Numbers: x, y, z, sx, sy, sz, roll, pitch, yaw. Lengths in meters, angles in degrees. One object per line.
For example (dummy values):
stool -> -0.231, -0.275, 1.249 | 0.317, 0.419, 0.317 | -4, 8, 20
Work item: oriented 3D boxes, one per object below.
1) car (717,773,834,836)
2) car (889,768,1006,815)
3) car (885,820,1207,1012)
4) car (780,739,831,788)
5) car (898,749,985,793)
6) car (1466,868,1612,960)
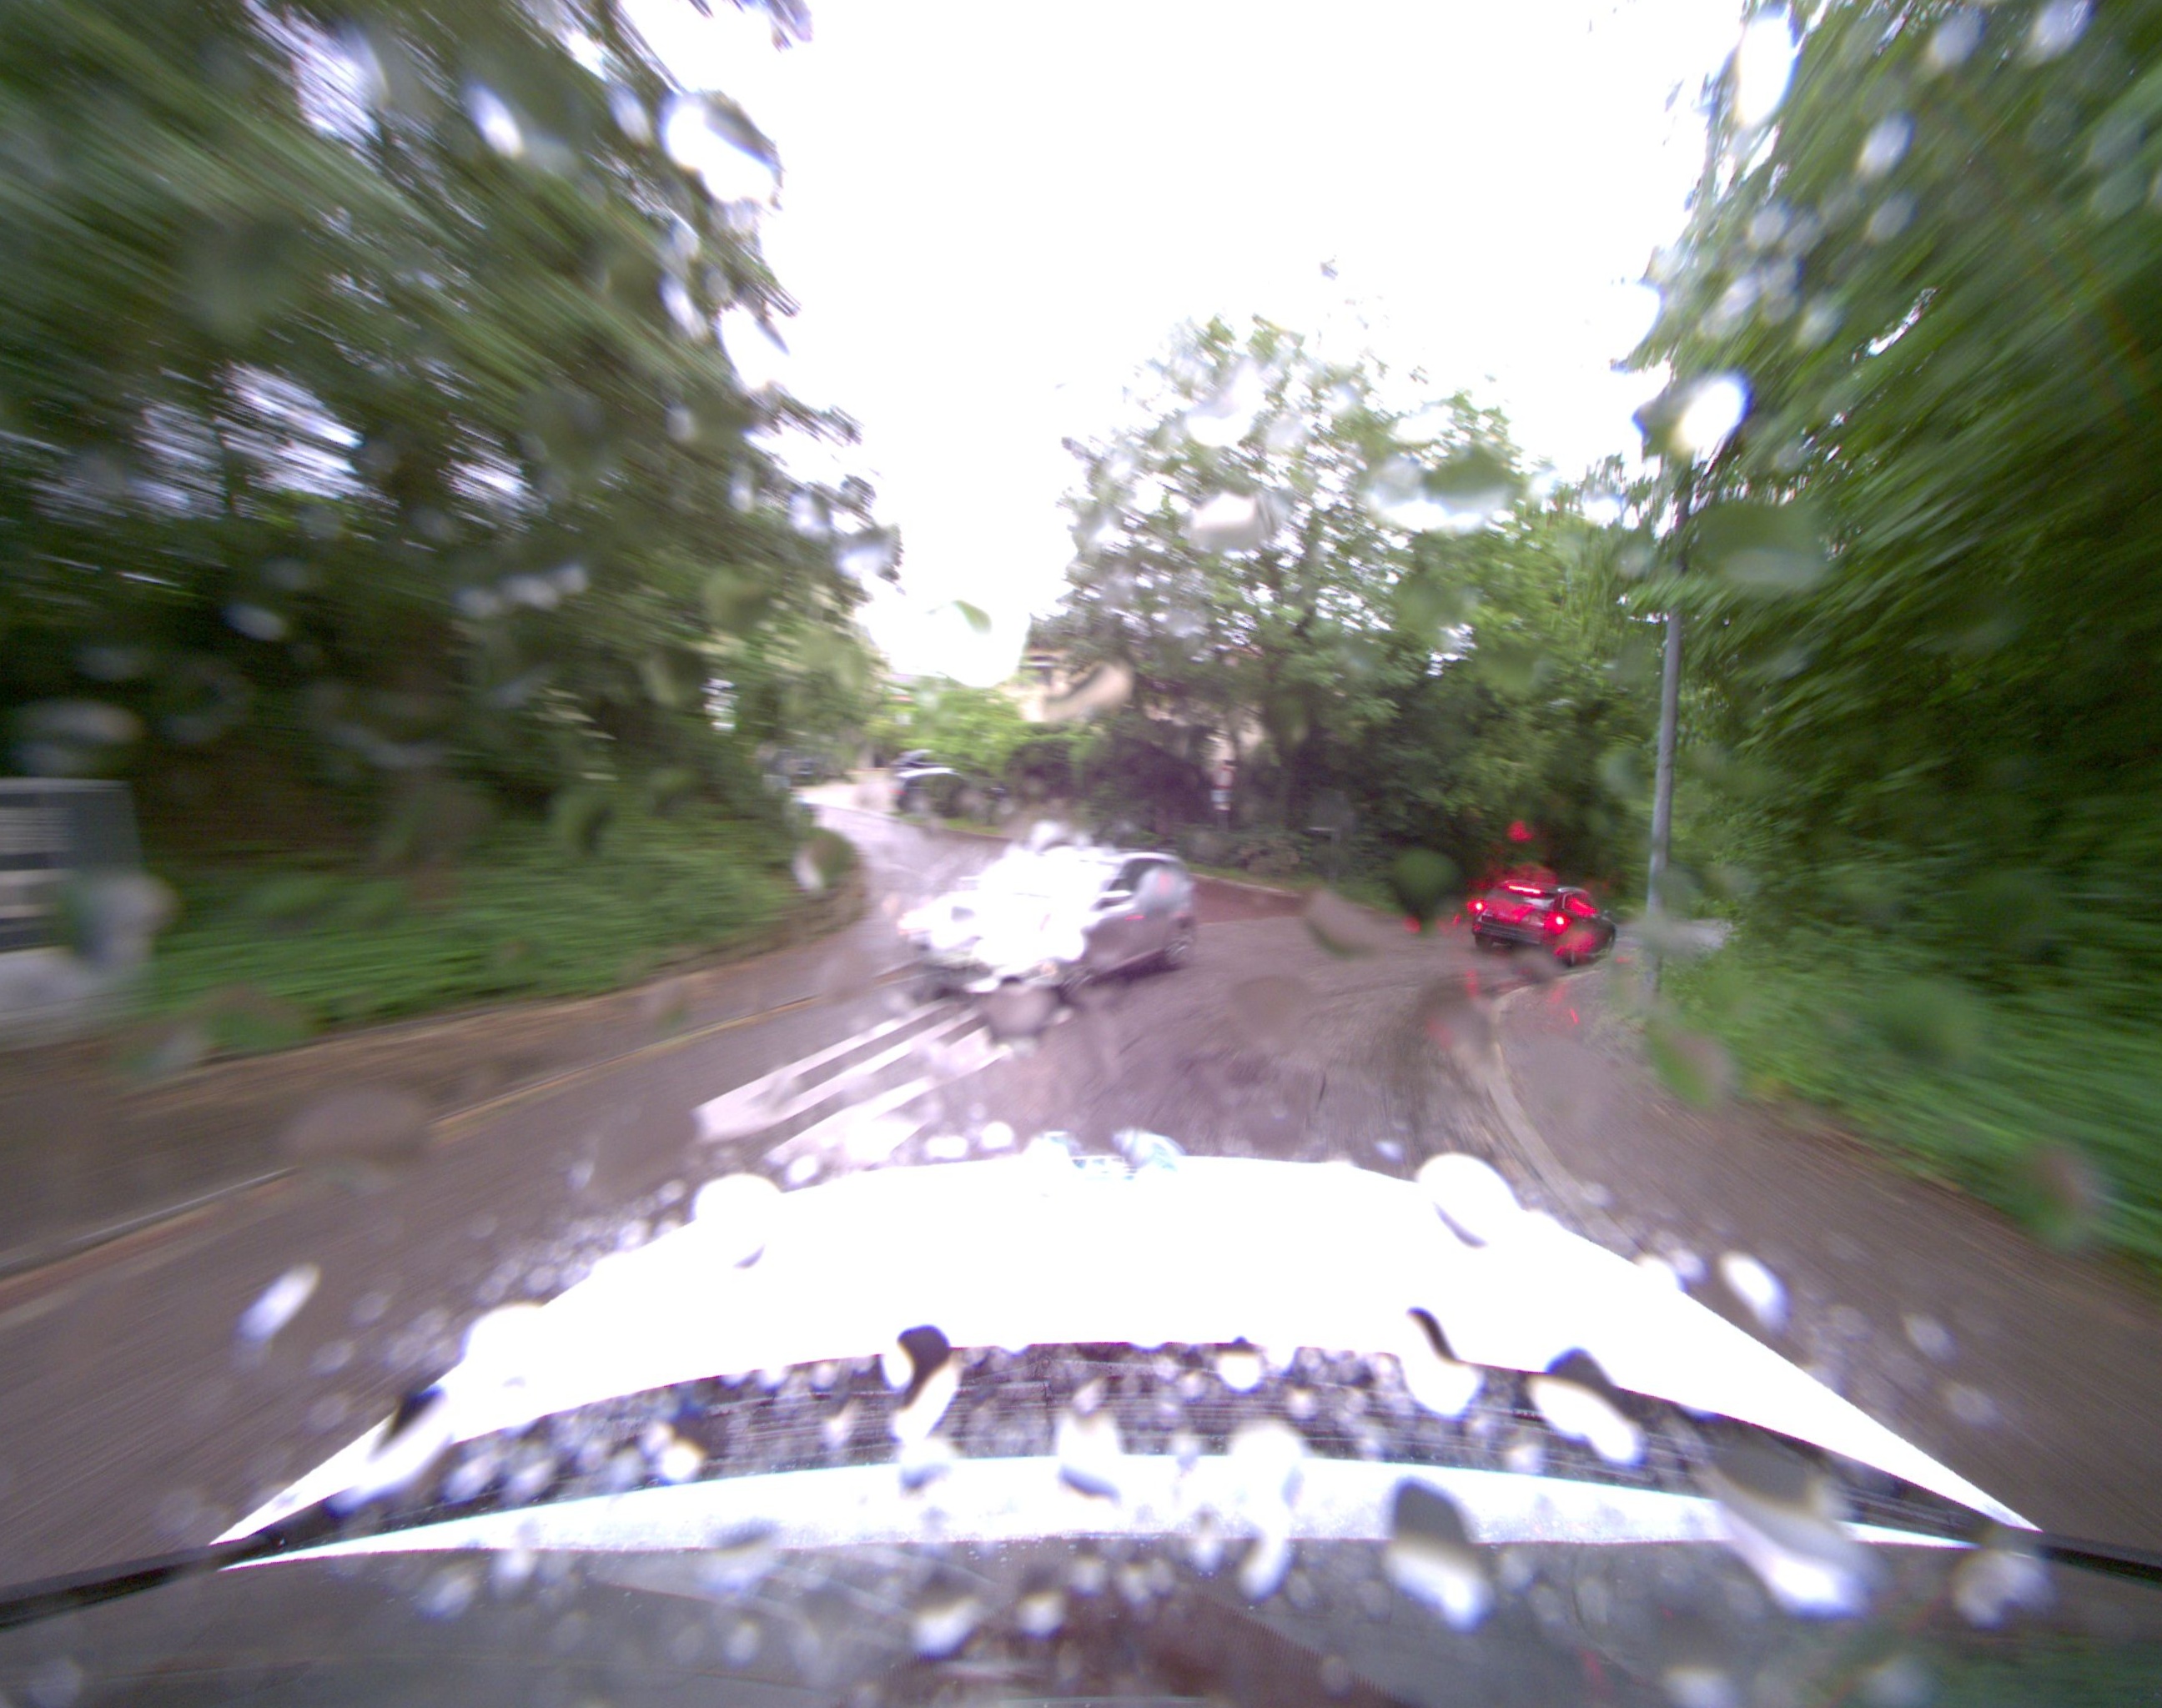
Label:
car -> -9.219, -1.564, 24.442 | 1.849, 1.460, 3.955 | -5, 12, -44
car -> -4.721, -2.275, 29.262 | 3.984, 1.415, 1.697 | -2, 11, -8
car -> -0.113, 0.539, 9.219 | 1.657, 1.537, 4.145 | 6, 2, 28
car -> -12.564, -4.203, 37.374 | 1.891, 1.614, 3.985 | -6, 15, -15
car -> -5.769, -3.492, 34.010 | 3.391, 1.572, 1.594 | -1, 15, -5
car -> 9.298, 1.094, 16.387 | 1.684, 1.450, 4.025 | 3, 3, 42
